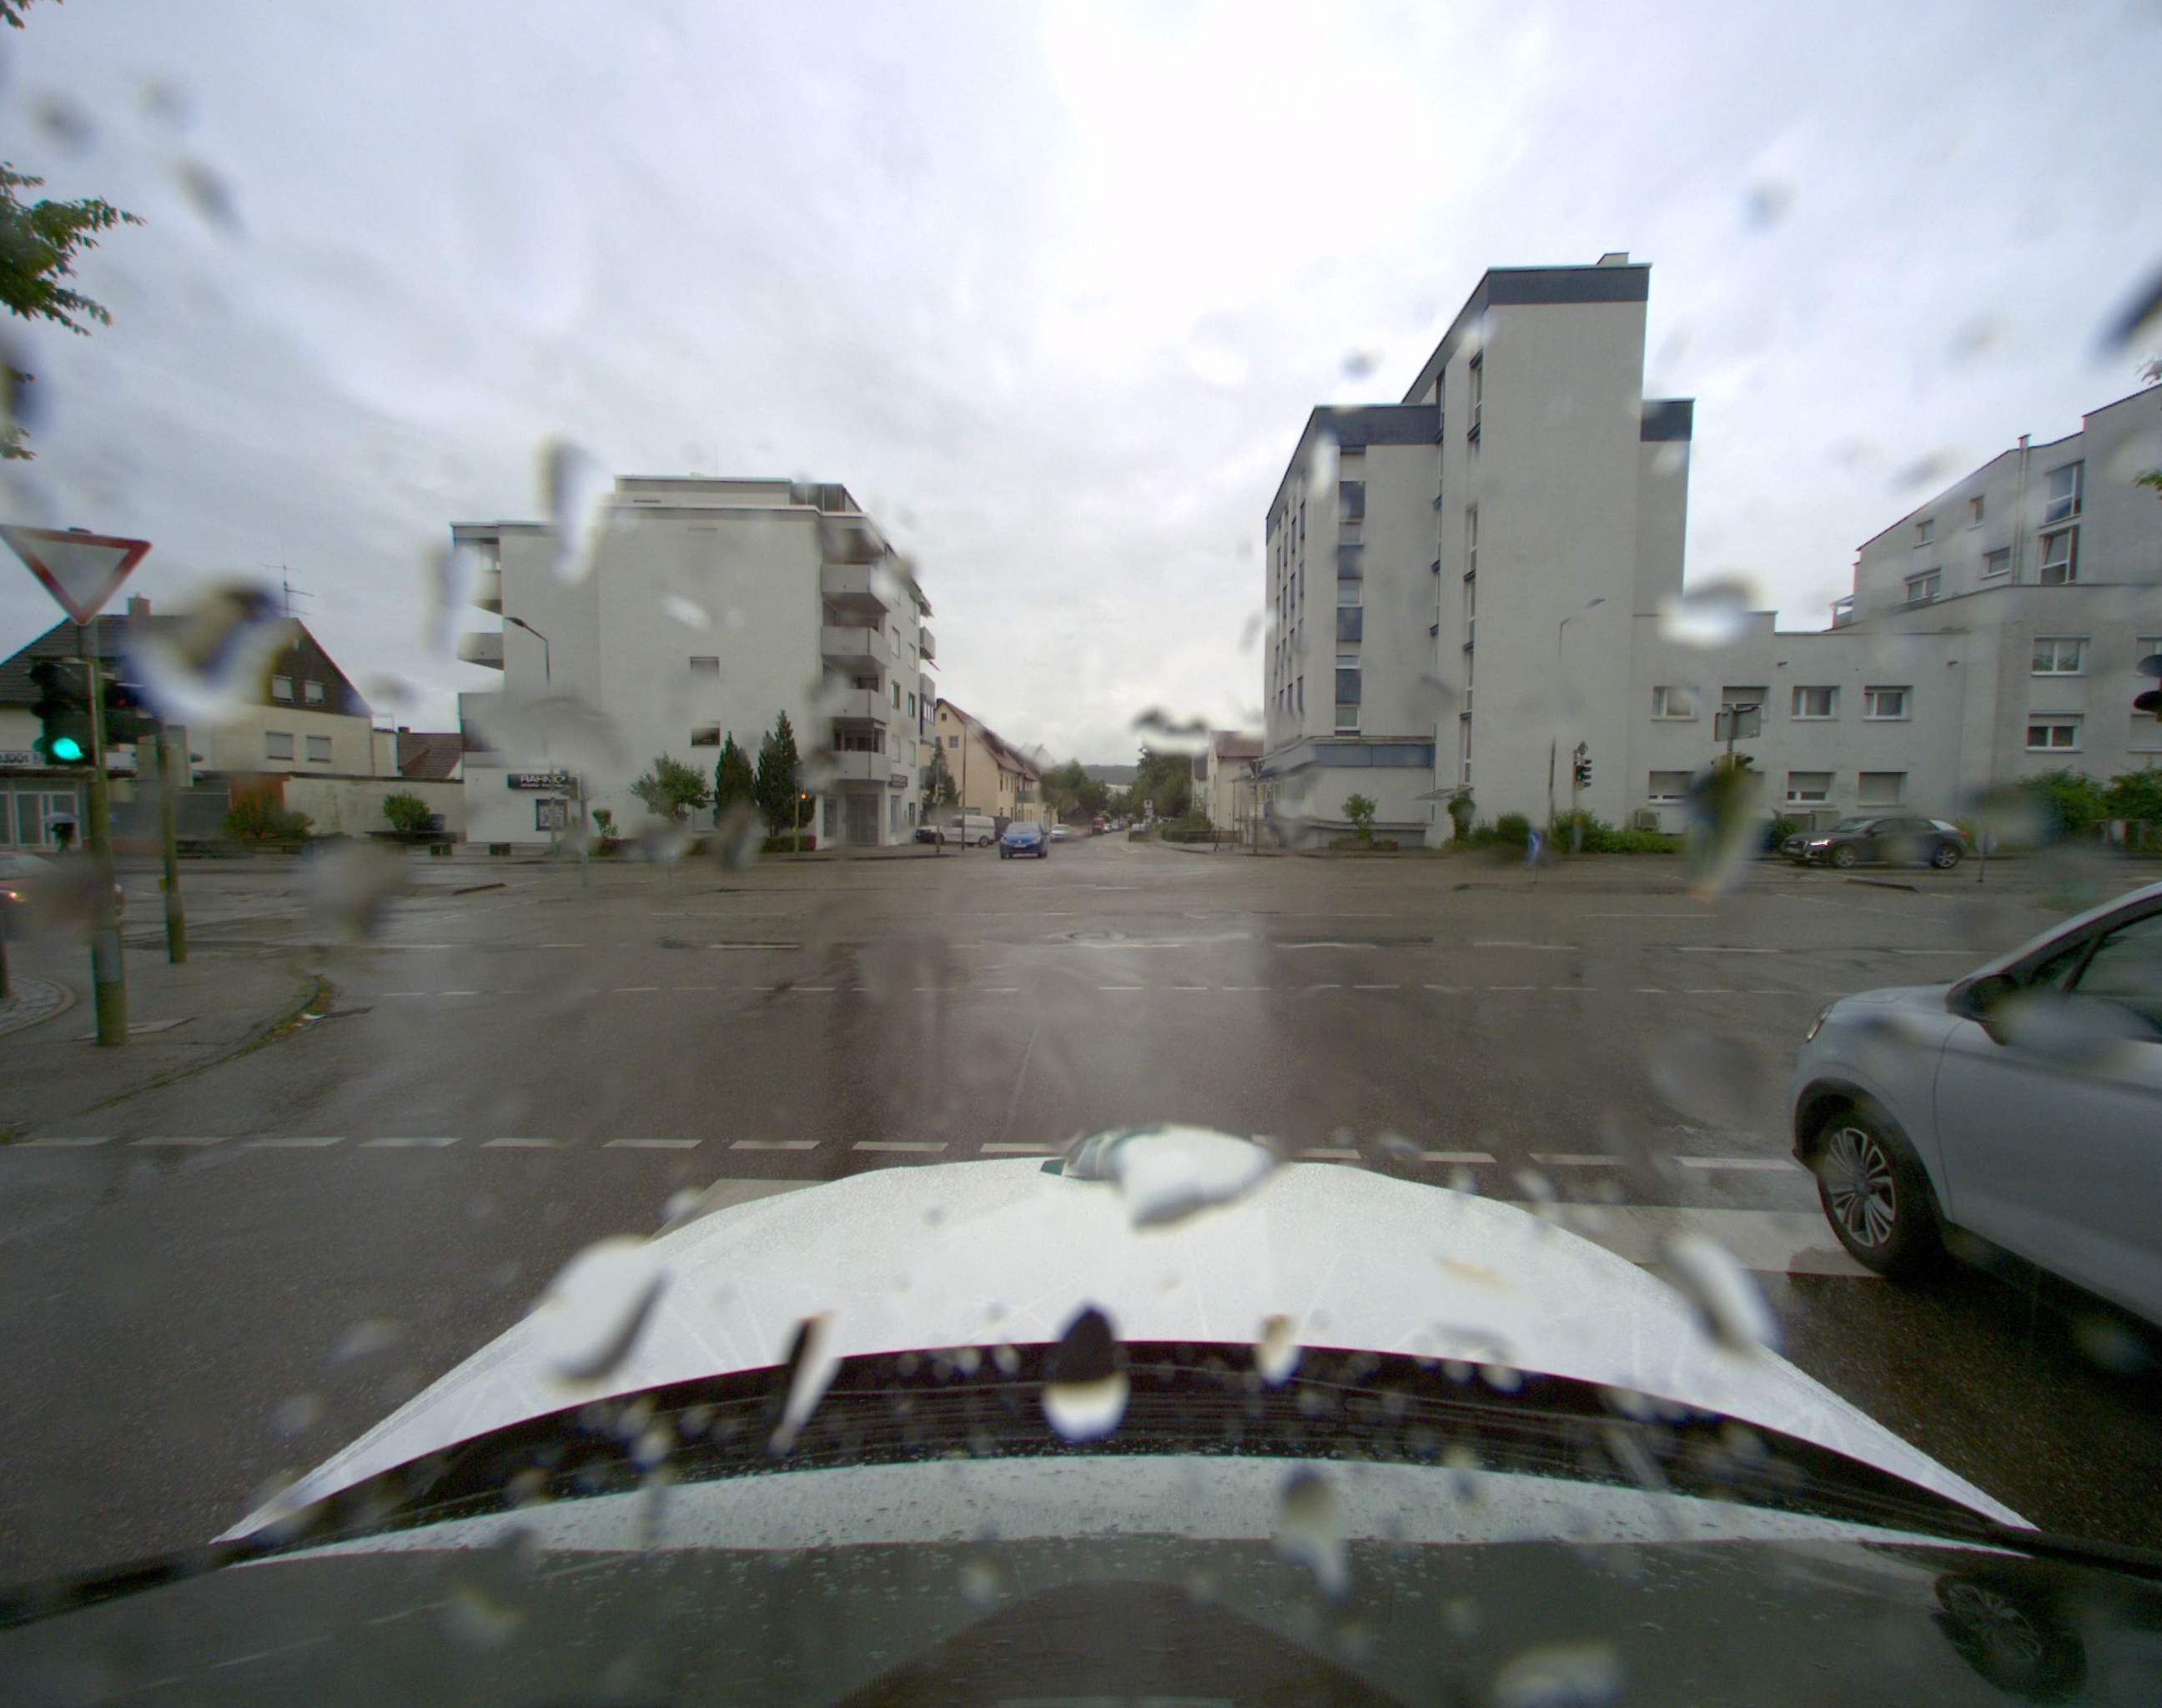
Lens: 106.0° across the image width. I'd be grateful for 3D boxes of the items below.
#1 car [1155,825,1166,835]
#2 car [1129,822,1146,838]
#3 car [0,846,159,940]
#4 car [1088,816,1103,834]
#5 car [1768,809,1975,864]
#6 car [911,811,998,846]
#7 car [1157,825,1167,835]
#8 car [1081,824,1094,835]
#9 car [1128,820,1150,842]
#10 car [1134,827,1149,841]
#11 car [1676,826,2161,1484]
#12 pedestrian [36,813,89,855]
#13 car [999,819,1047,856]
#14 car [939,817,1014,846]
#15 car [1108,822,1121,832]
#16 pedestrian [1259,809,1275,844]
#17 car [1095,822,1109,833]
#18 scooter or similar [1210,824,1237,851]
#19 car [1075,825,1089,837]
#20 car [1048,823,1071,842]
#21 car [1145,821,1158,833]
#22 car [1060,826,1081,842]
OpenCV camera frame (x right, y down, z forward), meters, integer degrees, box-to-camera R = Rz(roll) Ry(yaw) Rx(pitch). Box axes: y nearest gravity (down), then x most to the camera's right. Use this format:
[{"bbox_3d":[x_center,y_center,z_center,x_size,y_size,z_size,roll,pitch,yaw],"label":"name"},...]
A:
[{"bbox_3d":[15.800,-4.819,161.872,1.983,2.013,4.009,-1,1,7],"label":"car"},{"bbox_3d":[7.196,-3.083,103.481,1.983,2.013,4.009,-1,1,7],"label":"car"},{"bbox_3d":[-20.505,0.703,15.383,4.074,1.505,1.783,0,6,2],"label":"car"},{"bbox_3d":[2.242,-4.514,126.634,2.208,2.768,5.728,-1,1,2],"label":"car"},{"bbox_3d":[23.261,-0.532,24.127,4.110,1.485,1.748,-1,4,10],"label":"car"},{"bbox_3d":[-7.412,-1.456,47.948,4.751,1.778,1.753,2,-1,-37],"label":"car"},{"bbox_3d":[16.888,-5.057,170.462,1.983,2.013,4.009,-1,1,7],"label":"car"},{"bbox_3d":[0.872,-3.374,112.603,1.762,1.518,3.999,-1,1,-1],"label":"car"},{"bbox_3d":[5.792,-2.237,81.280,1.983,2.014,4.008,-1,-1,7],"label":"car"},{"bbox_3d":[8.865,-2.887,118.661,1.983,2.013,4.009,-1,1,7],"label":"car"},{"bbox_3d":[3.438,0.715,1.995,1.678,1.554,3.919,-1,1,10],"label":"car"},{"bbox_3d":[-38.030,-0.745,30.425,0.986,1.568,0.755,-1,1,1],"label":"pedestrian"},{"bbox_3d":[-2.358,-0.641,33.867,1.762,1.445,3.998,0,-1,-1],"label":"car"},{"bbox_3d":[-7.027,-1.512,55.044,4.644,1.888,1.941,-2,2,-37],"label":"car"},{"bbox_3d":[6.383,-5.031,154.689,1.982,1.706,4.010,-1,-1,9],"label":"car"},{"bbox_3d":[9.042,-1.327,39.584,0.652,1.652,0.646,0,-1,2],"label":"pedestrian"},{"bbox_3d":[3.646,-4.499,138.691,1.983,1.684,4.008,-1,-1,7],"label":"car"},{"bbox_3d":[6.756,-0.770,38.557,1.058,1.227,0.799,0,-1,-8],"label":"scooter or similar"},{"bbox_3d":[0.099,-2.920,104.443,1.762,1.518,3.999,-1,1,-1],"label":"car"},{"bbox_3d":[-1.724,-1.823,67.955,1.761,1.523,4.000,-1,1,0],"label":"car"},{"bbox_3d":[11.977,-4.523,137.960,1.983,2.013,4.009,-1,1,7],"label":"car"},{"bbox_3d":[-0.987,-1.963,79.683,1.760,1.518,4.197,-1,1,2],"label":"car"}]
